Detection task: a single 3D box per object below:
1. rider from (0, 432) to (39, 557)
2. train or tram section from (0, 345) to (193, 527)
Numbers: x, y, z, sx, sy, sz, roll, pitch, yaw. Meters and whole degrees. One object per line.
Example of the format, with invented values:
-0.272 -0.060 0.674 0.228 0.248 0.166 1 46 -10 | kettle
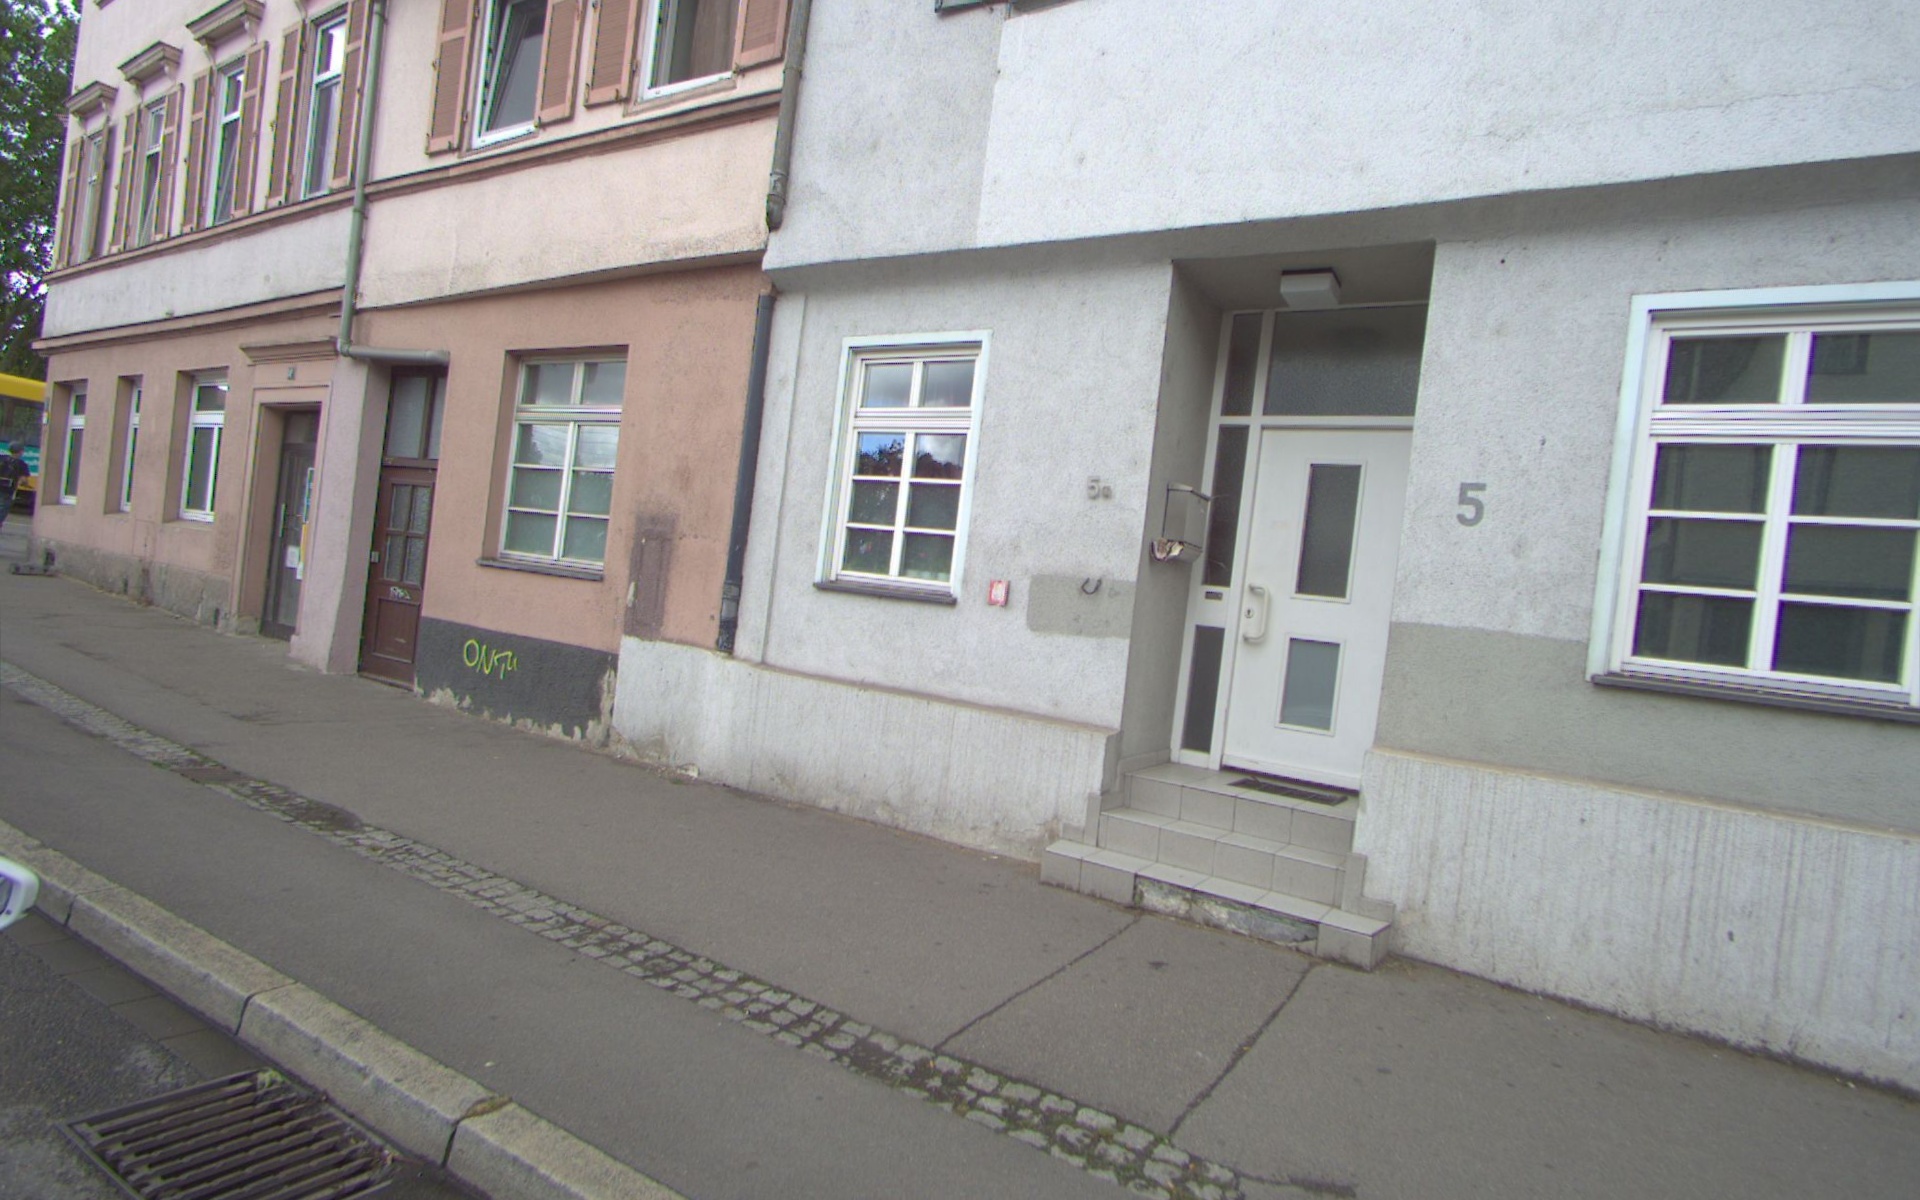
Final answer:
-14.897 -1.650 15.560 0.711 1.873 0.792 4 4 -26 | rider
-27.769 -4.831 20.862 3.250 4.053 19.267 10 1 25 | train or tram section
